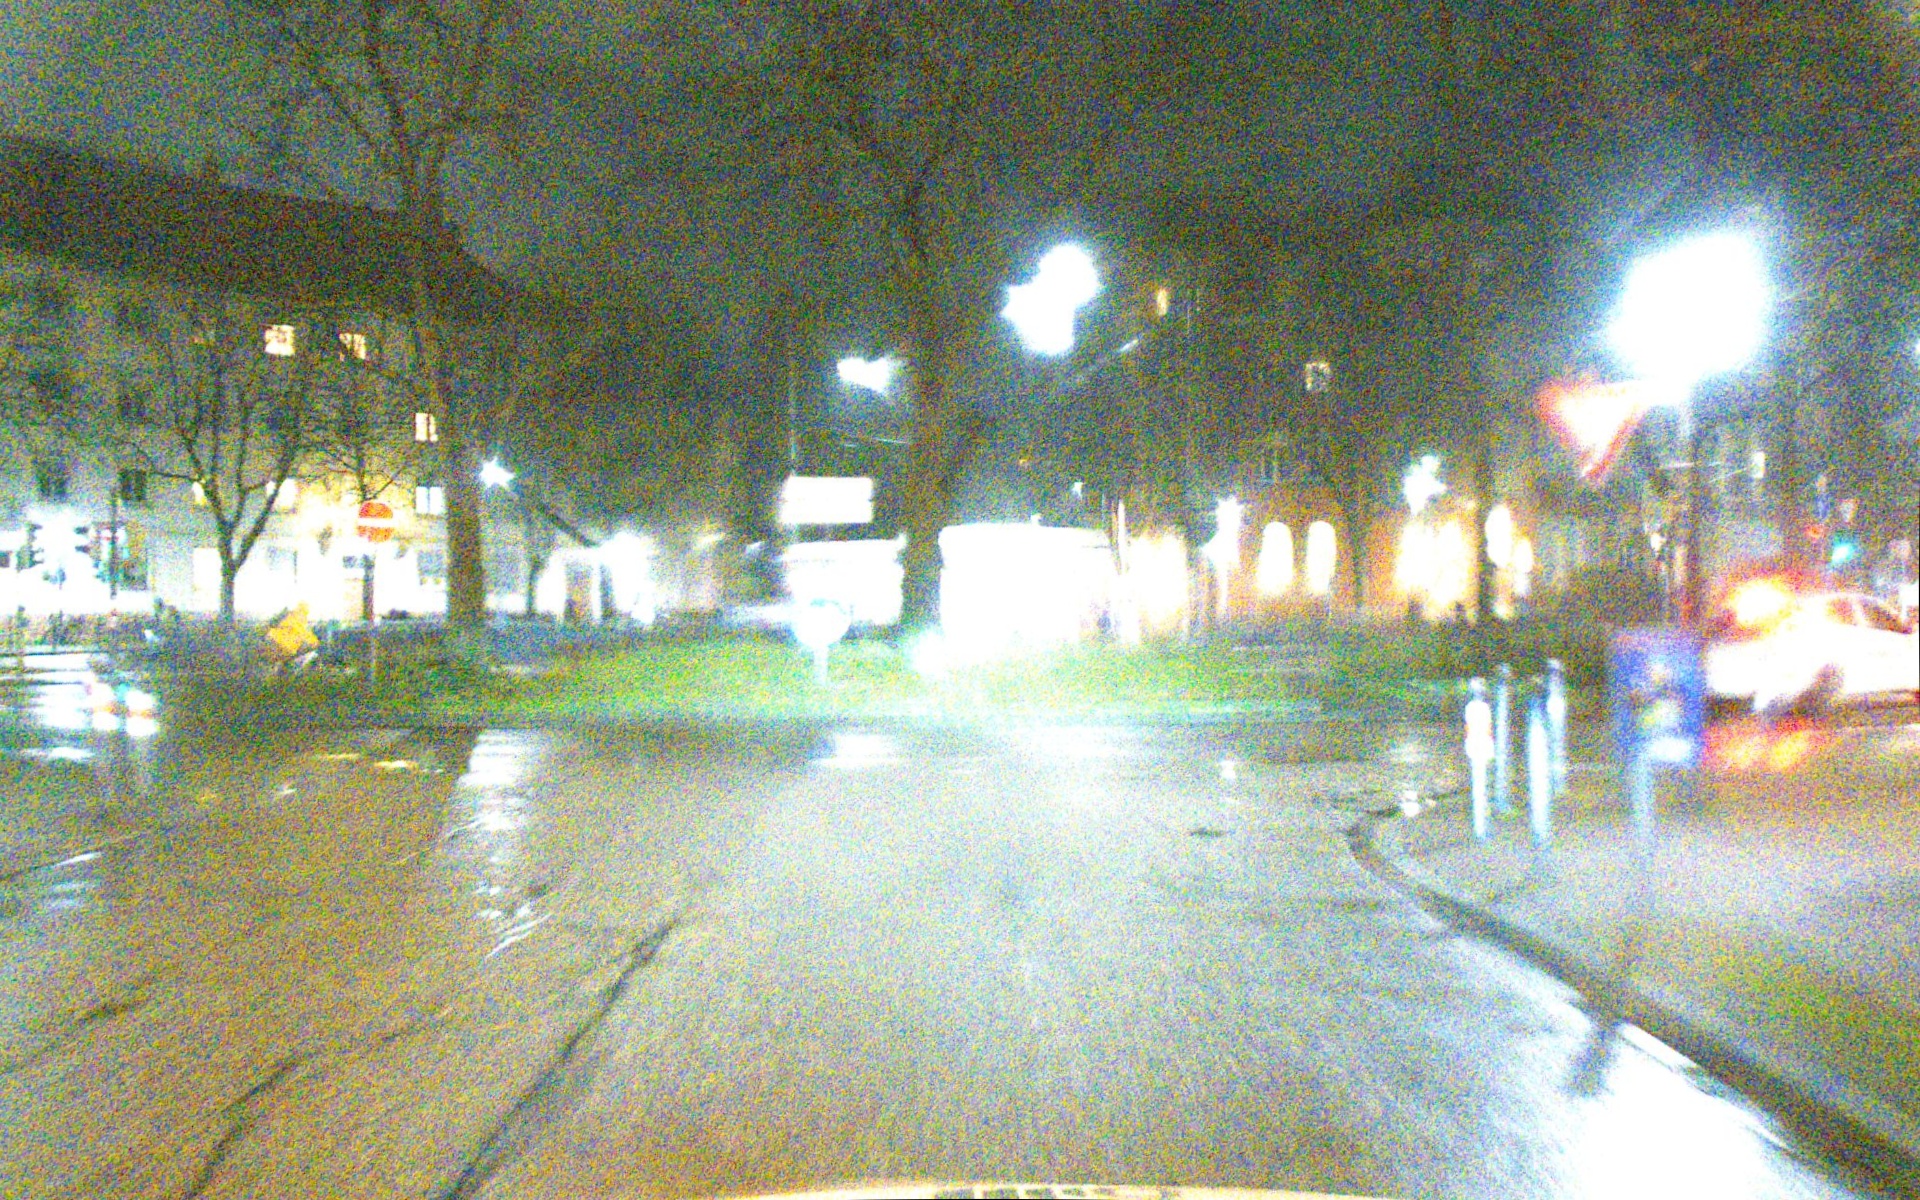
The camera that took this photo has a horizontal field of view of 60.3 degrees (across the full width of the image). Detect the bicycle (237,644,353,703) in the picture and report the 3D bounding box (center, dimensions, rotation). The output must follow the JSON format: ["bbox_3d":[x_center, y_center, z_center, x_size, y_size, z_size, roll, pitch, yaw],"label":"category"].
[{"bbox_3d":[-11.112,1.230,27.659,1.755,0.948,0.496,2,-1,-25],"label":"bicycle"}]

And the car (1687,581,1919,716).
[{"bbox_3d":[11.460,0.637,21.826,3.413,1.642,1.720,2,-1,-30],"label":"car"}]

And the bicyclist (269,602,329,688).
[{"bbox_3d":[-11.061,0.749,27.687,0.880,1.404,0.501,2,-1,-24],"label":"bicyclist"}]

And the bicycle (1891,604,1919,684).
[{"bbox_3d":[14.869,0.682,25.003,1.697,1.169,0.766,2,-1,-37],"label":"bicycle"}]

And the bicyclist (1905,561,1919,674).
[{"bbox_3d":[14.879,0.277,25.002,0.700,1.704,0.789,2,-1,-37],"label":"bicyclist"}]
